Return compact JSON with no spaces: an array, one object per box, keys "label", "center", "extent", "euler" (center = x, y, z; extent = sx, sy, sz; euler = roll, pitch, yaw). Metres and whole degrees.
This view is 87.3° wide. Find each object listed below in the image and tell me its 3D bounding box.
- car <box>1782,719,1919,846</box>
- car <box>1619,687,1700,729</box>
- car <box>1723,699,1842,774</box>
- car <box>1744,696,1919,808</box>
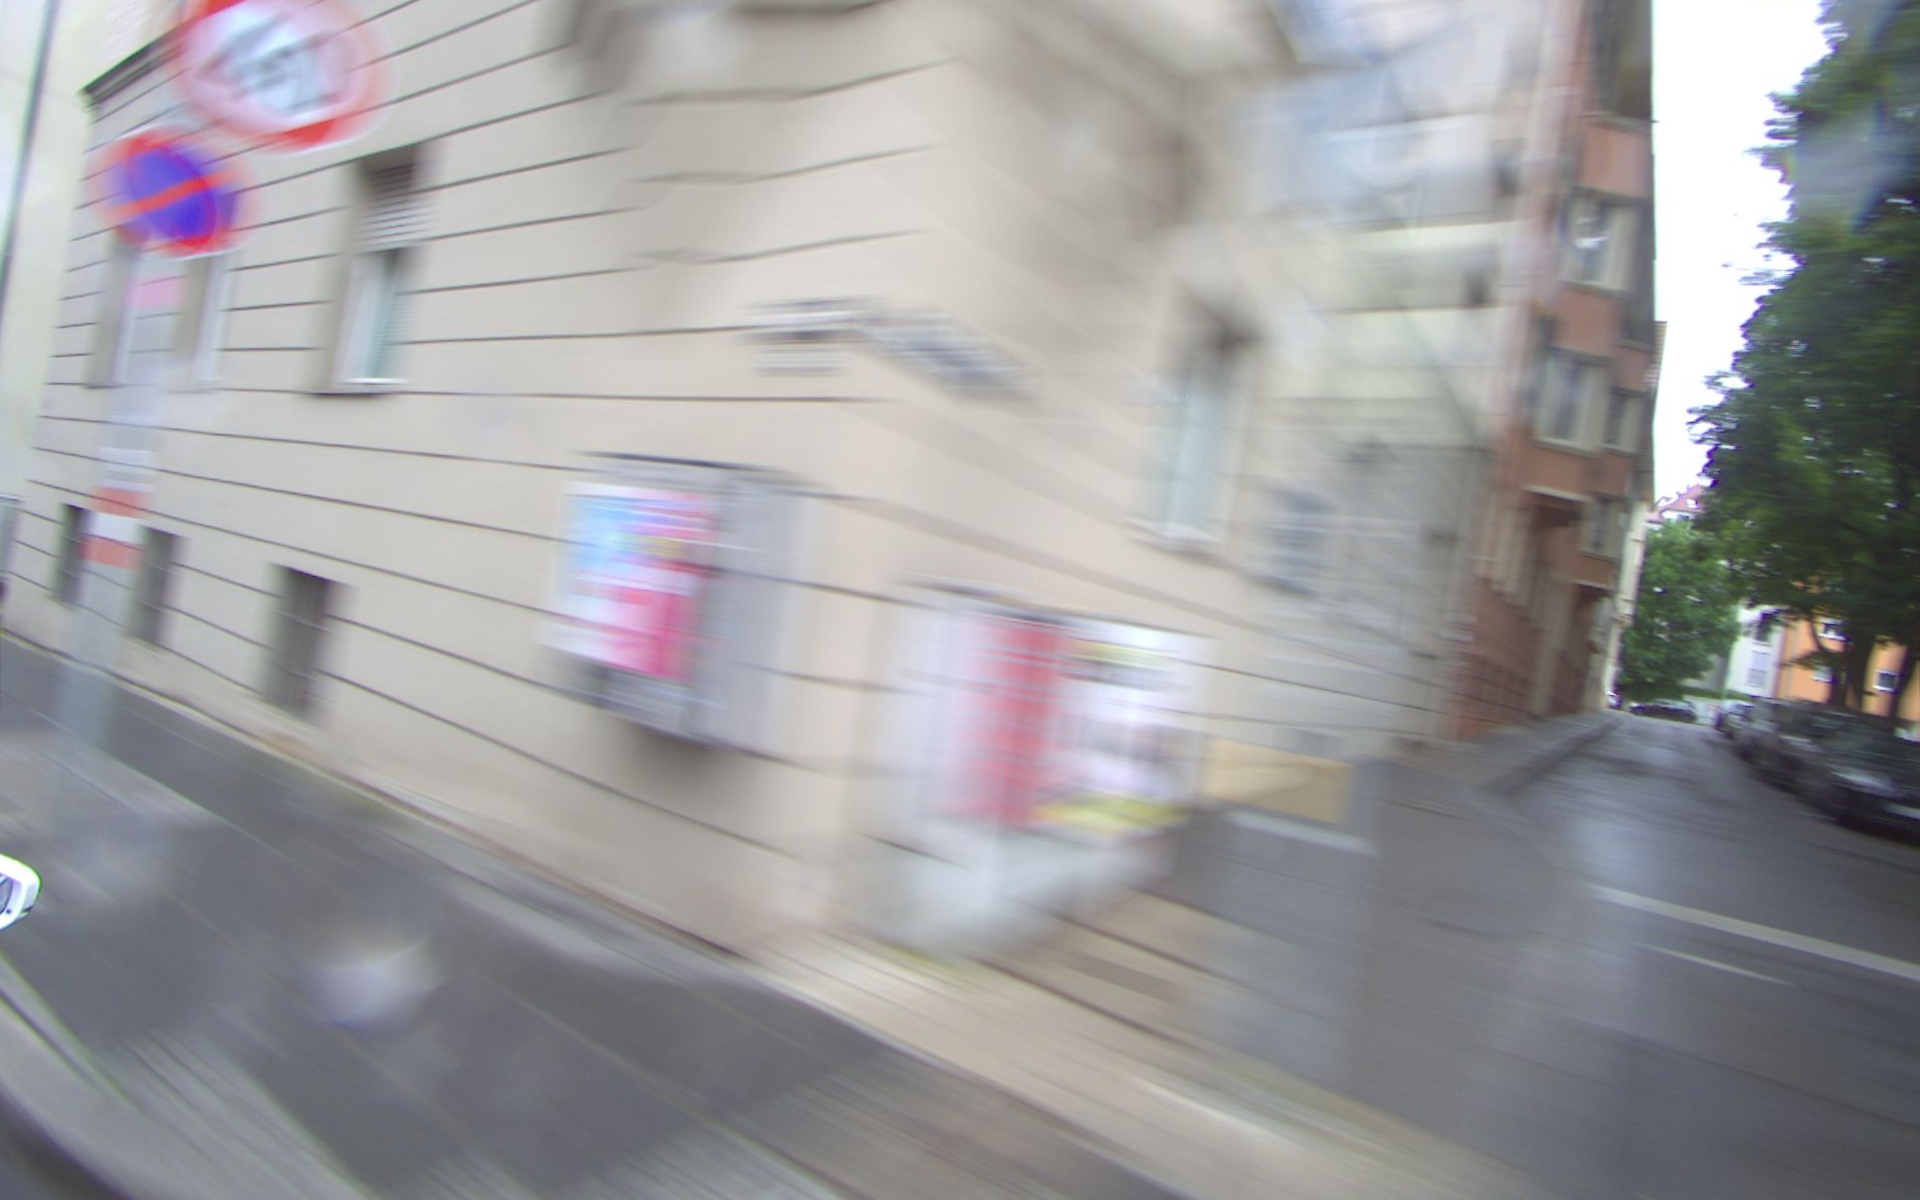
[{"label":"car","center":[13.972,2.711,15.189],"extent":[1.751,1.437,3.991],"euler":[6,-1,31]},{"label":"car","center":[44.276,6.826,63.796],"extent":[3.934,2.038,1.996],"euler":[6,-1,32]},{"label":"car","center":[23.397,3.812,28.808],"extent":[1.836,1.710,4.756],"euler":[5,-2,31]},{"label":"car","center":[17.108,2.881,19.918],"extent":[1.836,1.710,4.320],"euler":[5,-2,31]}]
